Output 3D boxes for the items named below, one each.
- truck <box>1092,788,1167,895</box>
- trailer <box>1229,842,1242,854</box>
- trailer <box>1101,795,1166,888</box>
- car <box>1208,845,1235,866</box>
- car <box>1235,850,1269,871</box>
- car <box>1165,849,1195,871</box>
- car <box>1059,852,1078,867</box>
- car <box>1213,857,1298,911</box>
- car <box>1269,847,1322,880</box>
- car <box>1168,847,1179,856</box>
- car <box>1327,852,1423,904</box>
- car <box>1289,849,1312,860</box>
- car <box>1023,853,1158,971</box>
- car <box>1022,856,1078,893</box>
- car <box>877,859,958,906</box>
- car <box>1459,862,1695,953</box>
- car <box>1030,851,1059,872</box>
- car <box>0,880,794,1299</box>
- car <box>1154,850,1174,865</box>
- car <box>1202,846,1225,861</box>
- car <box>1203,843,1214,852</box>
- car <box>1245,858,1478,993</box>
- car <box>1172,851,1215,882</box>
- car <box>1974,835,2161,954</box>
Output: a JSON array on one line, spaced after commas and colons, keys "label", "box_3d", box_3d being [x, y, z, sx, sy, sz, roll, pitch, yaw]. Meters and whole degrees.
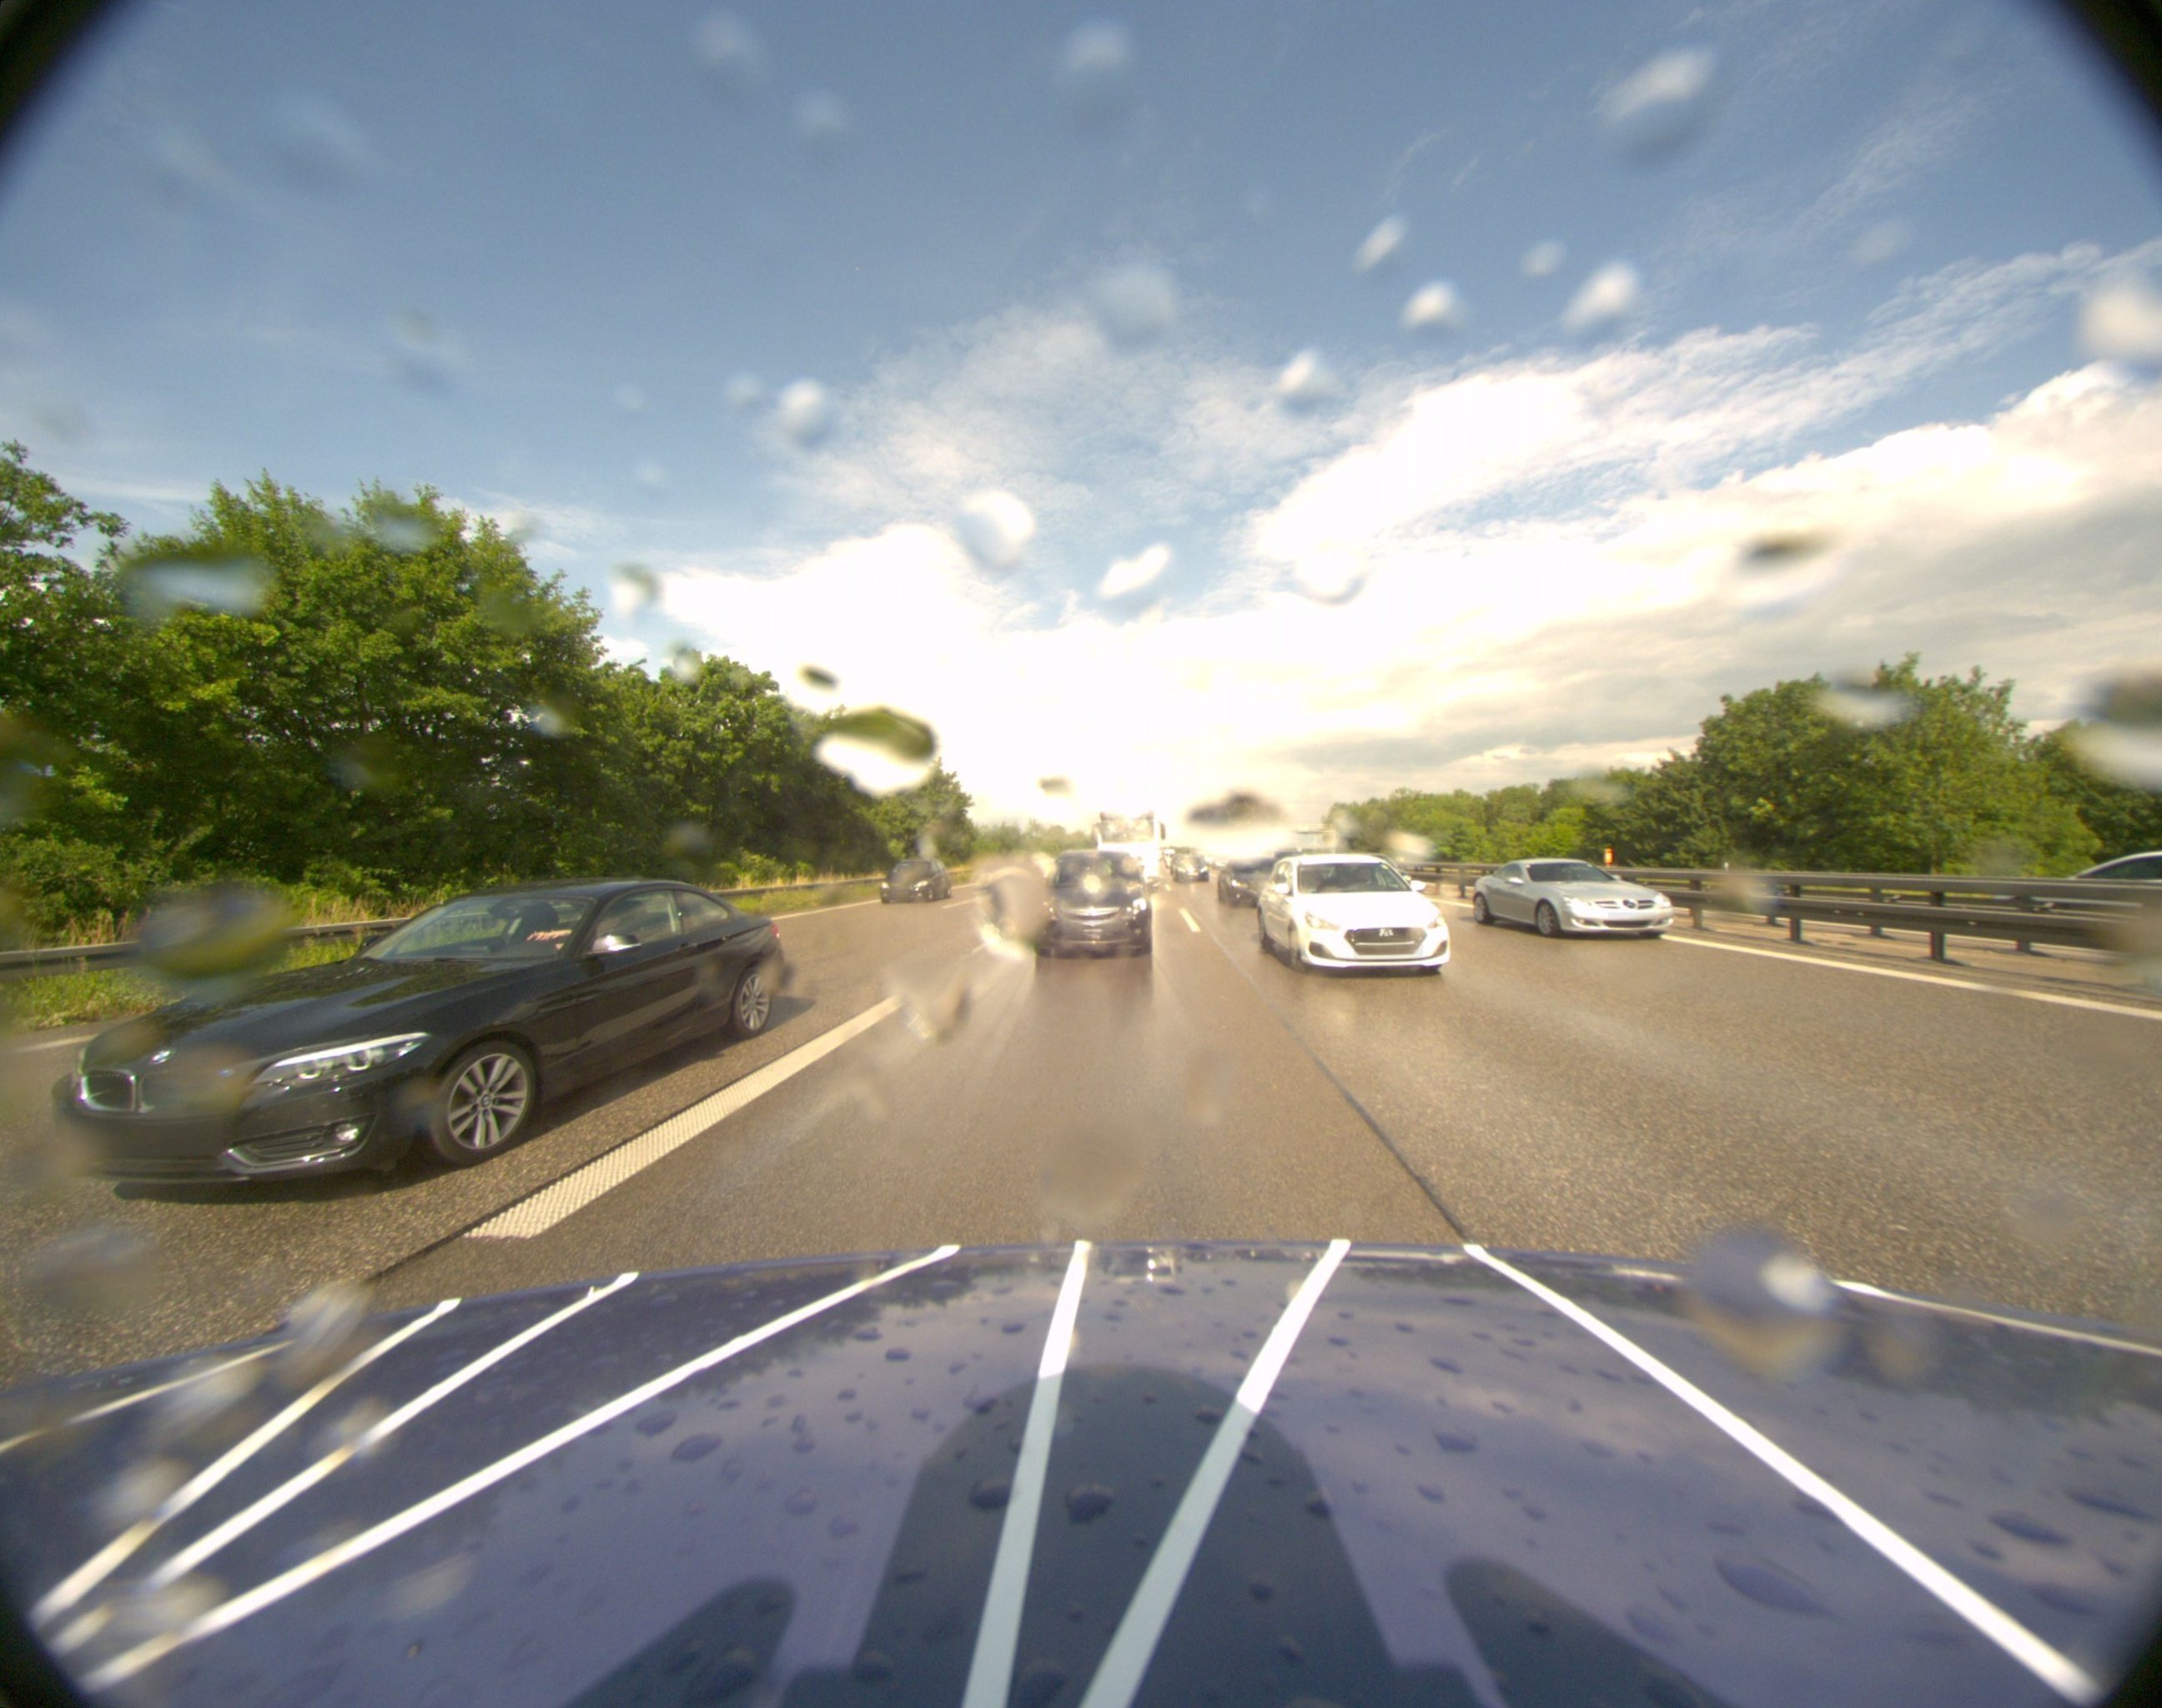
[{"label": "truck", "box_3d": [2.286, -0.516, 33.538, 2.816, 4.083, 7.448, -2, 1, 6]}, {"label": "trailer", "box_3d": [45.861, -1.866, 225.485, 2.736, 3.362, 9.564, -1, 0, 6]}, {"label": "trailer", "box_3d": [2.939, -0.613, 39.926, 2.789, 4.082, 11.542, -2, 1, 6]}, {"label": "car", "box_3d": [13.036, 0.116, 70.692, 1.998, 1.739, 4.000, -3, 1, 4]}, {"label": "car", "box_3d": [12.146, 0.441, 54.214, 1.771, 1.371, 4.000, -1, 1, 4]}, {"label": "car", "box_3d": [7.585, 0.424, 58.599, 1.998, 1.471, 4.000, -3, 1, 4]}, {"label": "car", "box_3d": [-1.422, 0.655, 88.385, 1.998, 1.619, 4.000, -1, 0, 1]}, {"label": "car", "box_3d": [4.936, 0.805, 22.035, 1.728, 1.330, 4.288, -1, 0, 4]}, {"label": "car", "box_3d": [11.008, 0.444, 39.243, 1.874, 1.597, 4.230, -1, 1, 5]}, {"label": "car", "box_3d": [18.486, -0.559, 151.859, 1.998, 1.687, 4.000, -3, 1, 4]}, {"label": "car", "box_3d": [9.242, 0.692, 24.239, 1.770, 1.417, 4.140, -2, 1, 5]}, {"label": "car", "box_3d": [32.533, 0.066, 112.612, 2.122, 1.478, 5.037, -1, 0, 2]}, {"label": "car", "box_3d": [0.288, 0.824, 13.021, 1.883, 1.638, 4.397, -1, 0, 4]}, {"label": "car", "box_3d": [-1.295, 0.865, 33.799, 1.830, 1.417, 4.512, -2, 1, 5]}, {"label": "car", "box_3d": [-5.951, 0.991, 28.066, 1.852, 1.559, 4.001, -1, 1, 4]}, {"label": "car", "box_3d": [8.440, 0.828, 13.429, 1.728, 1.270, 4.064, -1, 0, 4]}, {"label": "car", "box_3d": [-2.901, 0.601, 61.815, 1.824, 1.611, 4.364, -2, 0, 4]}, {"label": "car", "box_3d": [-3.867, 1.011, 5.177, 1.852, 1.455, 4.257, -1, 1, 6]}, {"label": "car", "box_3d": [9.325, 0.351, 85.287, 1.998, 1.471, 4.000, -3, 1, 4]}, {"label": "car", "box_3d": [14.481, -0.053, 83.153, 1.998, 1.471, 4.000, -3, 1, 4]}, {"label": "car", "box_3d": [27.236, -1.360, 162.331, 1.998, 1.768, 4.462, -1, 0, 5]}, {"label": "car", "box_3d": [3.627, 0.818, 10.774, 1.885, 1.446, 4.549, -1, 0, 4]}, {"label": "car", "box_3d": [6.180, 0.656, 42.179, 1.998, 1.477, 4.000, -3, 1, 4]}, {"label": "car", "box_3d": [15.810, 0.543, 10.626, 1.998, 1.614, 4.000, -1, 0, 2]}]
